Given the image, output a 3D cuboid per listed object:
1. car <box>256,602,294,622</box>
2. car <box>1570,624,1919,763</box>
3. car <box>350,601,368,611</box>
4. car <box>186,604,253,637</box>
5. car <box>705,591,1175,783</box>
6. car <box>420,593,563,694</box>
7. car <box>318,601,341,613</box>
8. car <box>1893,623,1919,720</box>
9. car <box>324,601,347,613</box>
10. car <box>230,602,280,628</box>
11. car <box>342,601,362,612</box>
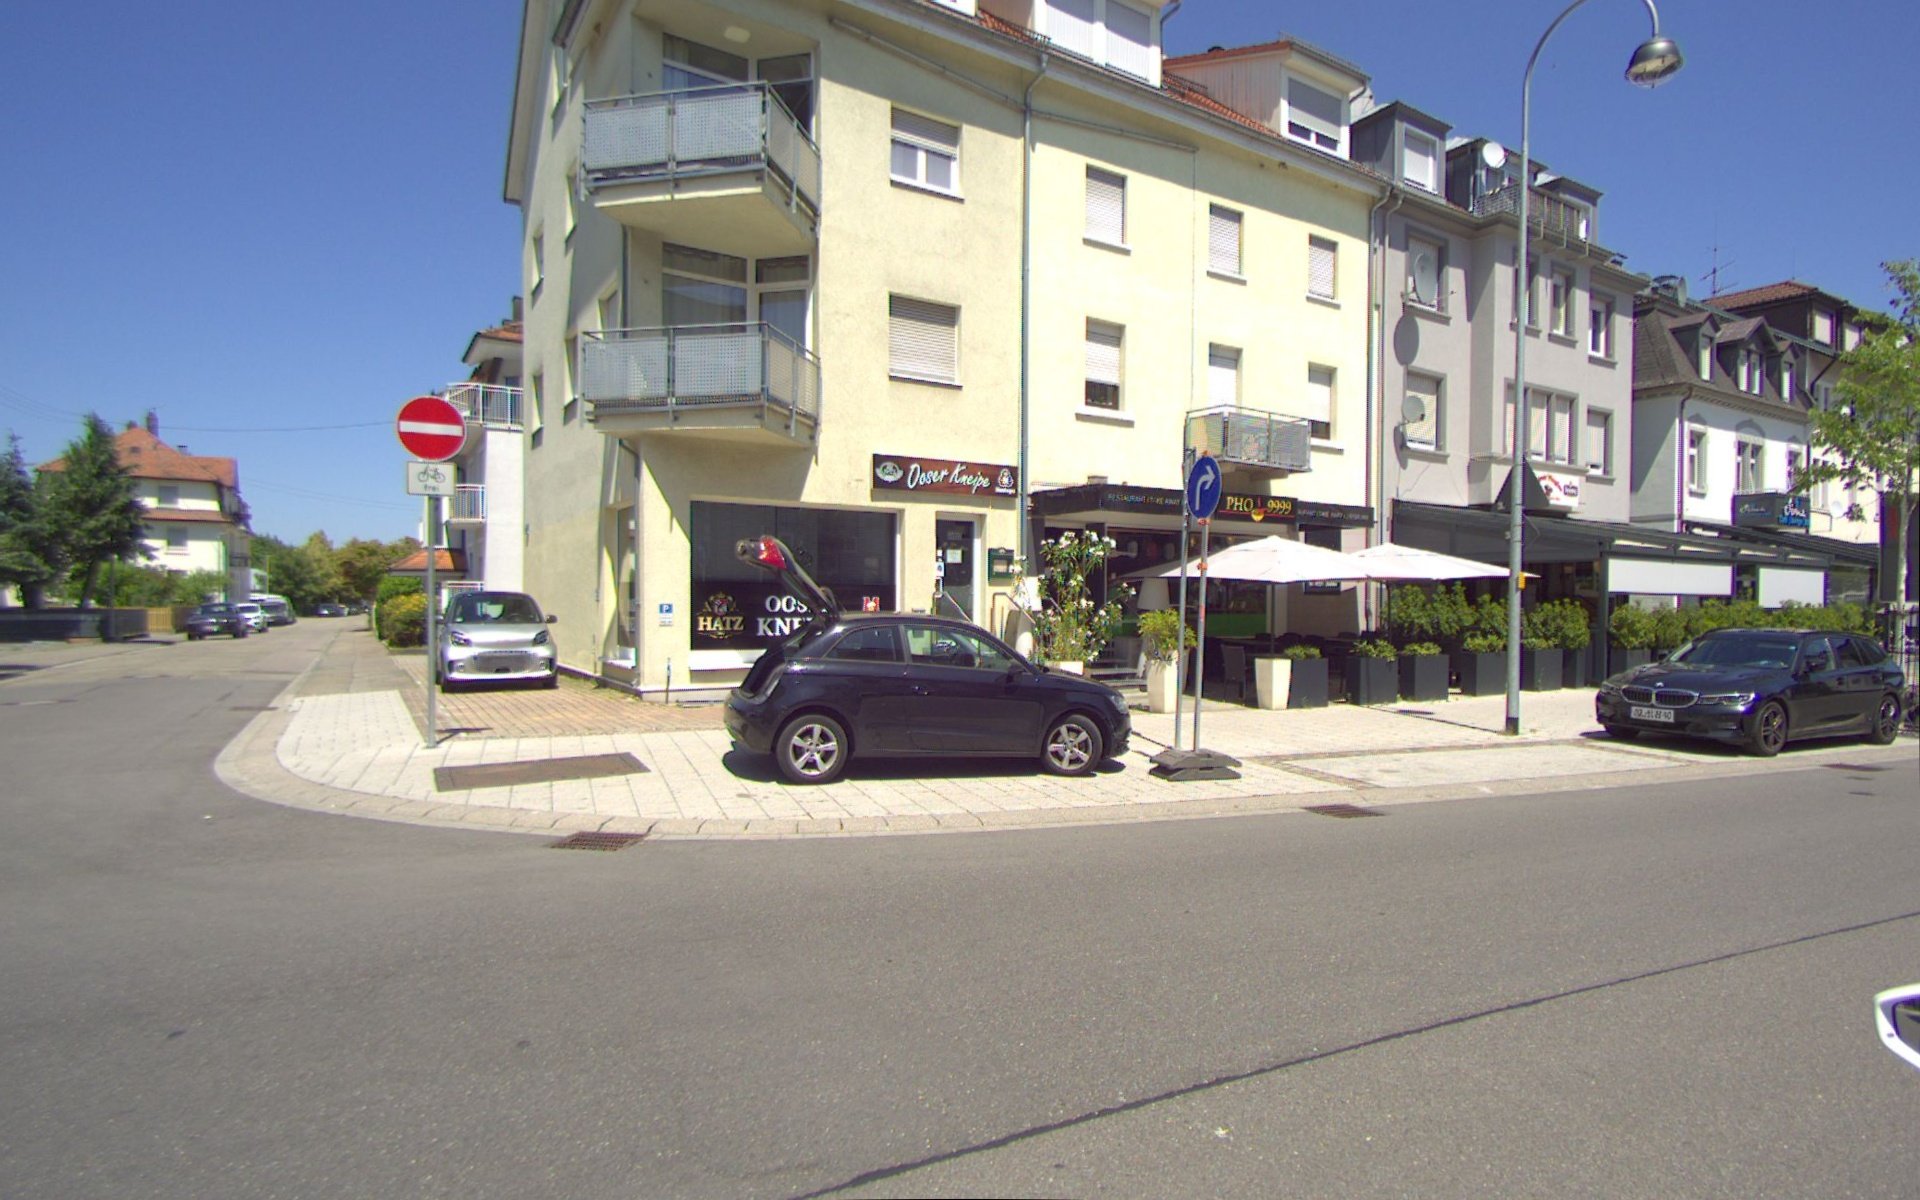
[{"bbox_3d":[-51.197,0.896,75.111,1.977,1.439,3.968,1,-1,-30],"label":"car"},{"bbox_3d":[10.252,1.087,13.007,4.721,1.449,1.827,1,1,-27],"label":"car"},{"bbox_3d":[-91.024,0.962,152.218,1.973,1.439,3.975,1,-1,-25],"label":"car"},{"bbox_3d":[-33.773,0.912,45.930,1.977,1.439,3.968,1,-1,-30],"label":"car"},{"bbox_3d":[-0.222,0.759,9.478,4.067,1.480,1.710,2,2,-20],"label":"car"},{"bbox_3d":[-7.755,0.641,16.501,1.674,1.478,3.242,0,0,-34],"label":"car"},{"bbox_3d":[-77.960,0.885,124.228,1.973,1.439,3.975,1,-1,-25],"label":"car"},{"bbox_3d":[16.937,1.161,16.020,3.887,1.499,1.640,1,2,-25],"label":"car"},{"bbox_3d":[-80.264,0.899,129.170,1.973,1.439,3.975,1,-1,-25],"label":"car"},{"bbox_3d":[-40.329,0.859,57.554,1.977,1.439,3.968,1,-1,-30],"label":"car"},{"bbox_3d":[-86.695,0.947,143.335,1.973,1.439,3.975,1,-1,-25],"label":"car"}]
